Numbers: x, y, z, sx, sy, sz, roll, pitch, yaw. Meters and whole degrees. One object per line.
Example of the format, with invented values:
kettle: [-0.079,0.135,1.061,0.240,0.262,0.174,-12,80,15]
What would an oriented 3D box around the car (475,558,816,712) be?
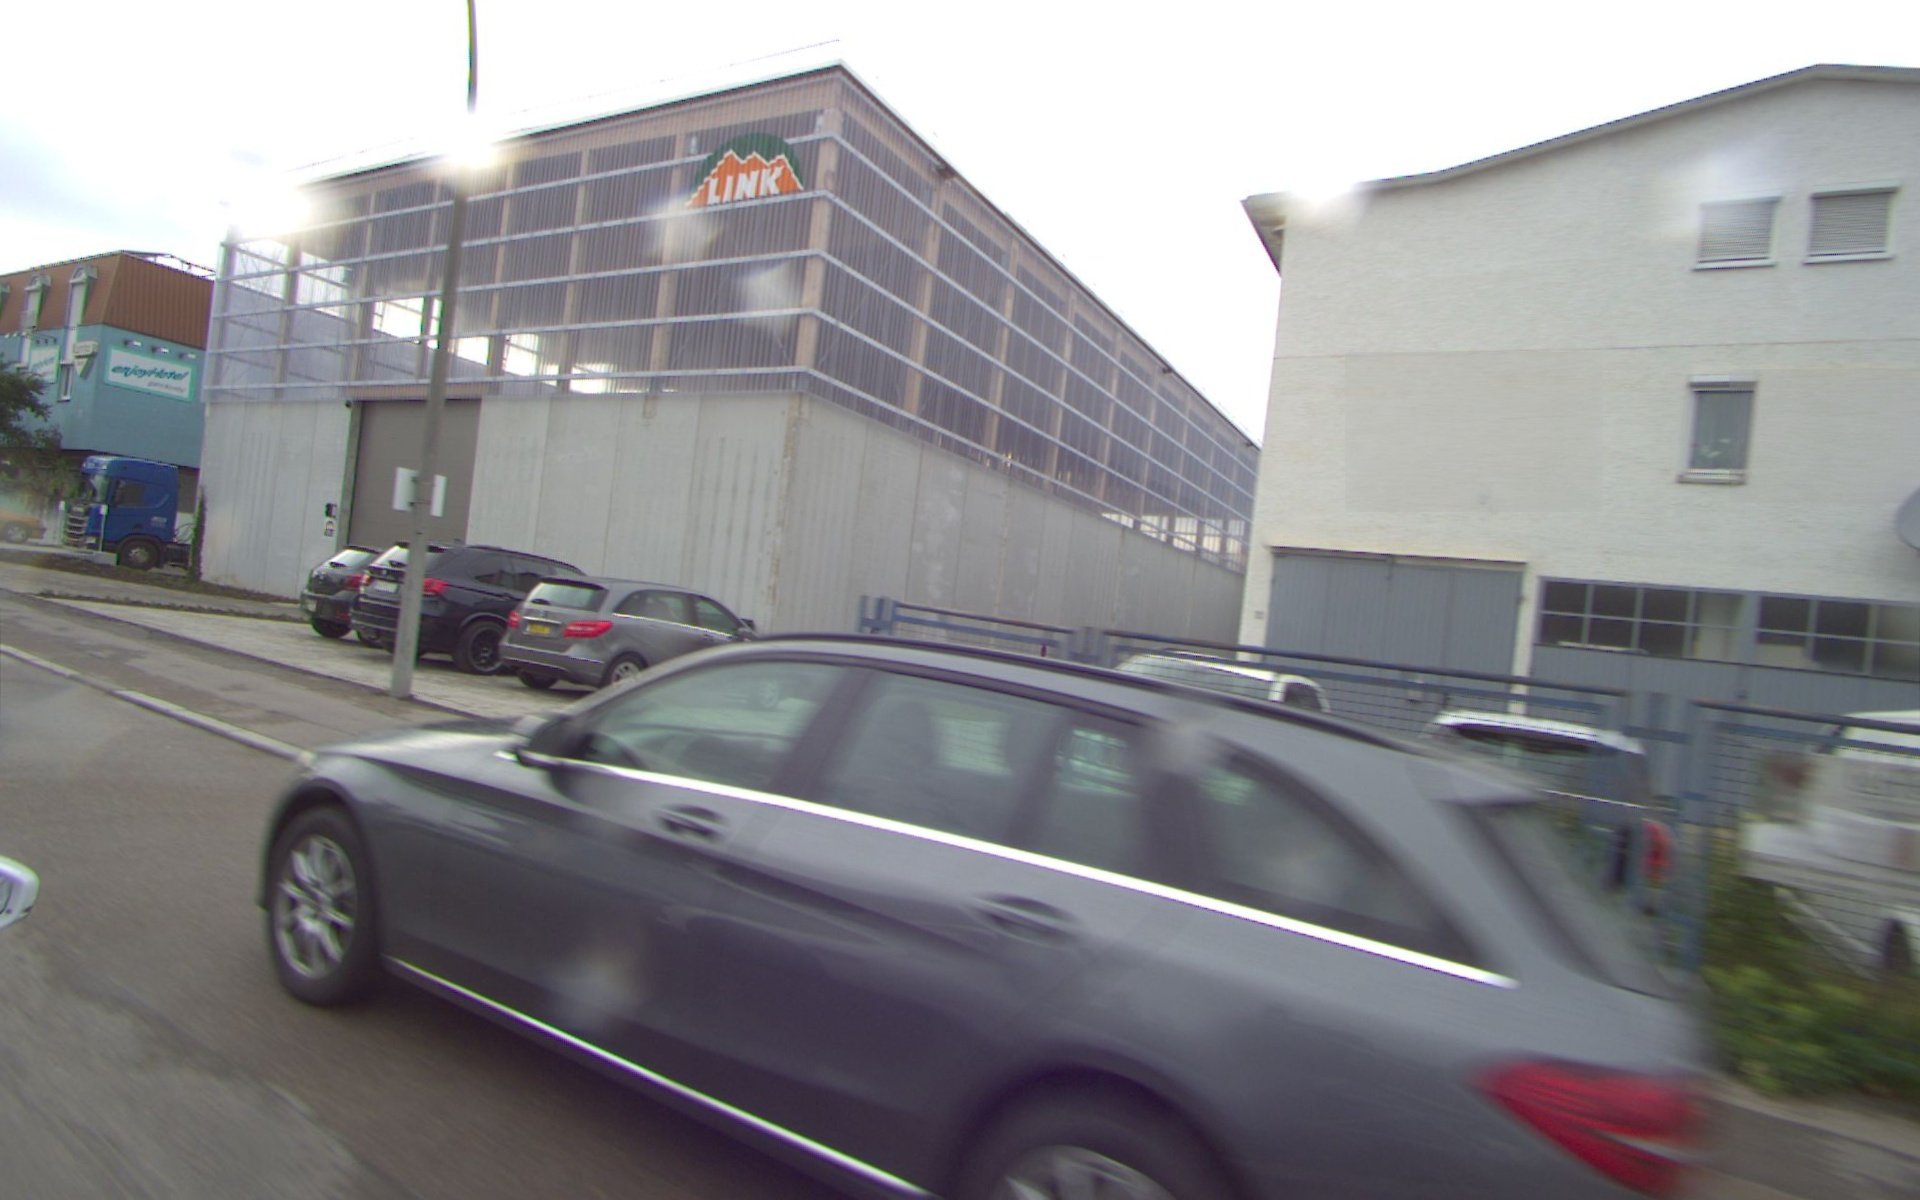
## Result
car: [-4.091,0.587,13.835,1.781,1.552,4.255,7,-3,31]

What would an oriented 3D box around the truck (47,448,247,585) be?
truck: [-27.638,-2.780,34.365,2.673,3.711,4.160,7,-4,28]

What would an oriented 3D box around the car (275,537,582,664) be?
car: [-8.564,0.084,16.557,1.802,1.507,3.974,7,-2,32]

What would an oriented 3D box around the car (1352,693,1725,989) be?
car: [4.461,1.617,7.956,1.819,1.394,4.331,7,-3,30]

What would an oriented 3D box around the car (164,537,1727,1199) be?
car: [-0.476,0.815,3.339,4.468,1.483,1.743,7,-2,30]

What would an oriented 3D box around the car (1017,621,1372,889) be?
car: [2.430,1.302,9.295,1.861,1.642,4.457,7,-3,30]

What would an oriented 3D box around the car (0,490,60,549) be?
car: [-27.402,-2.432,27.328,1.603,1.447,3.996,7,-2,29]

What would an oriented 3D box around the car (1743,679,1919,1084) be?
car: [6.572,1.639,6.202,1.966,1.907,4.743,7,-3,31]

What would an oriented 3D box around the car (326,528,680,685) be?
car: [-6.512,0.191,14.823,1.949,1.693,4.234,7,-3,33]
